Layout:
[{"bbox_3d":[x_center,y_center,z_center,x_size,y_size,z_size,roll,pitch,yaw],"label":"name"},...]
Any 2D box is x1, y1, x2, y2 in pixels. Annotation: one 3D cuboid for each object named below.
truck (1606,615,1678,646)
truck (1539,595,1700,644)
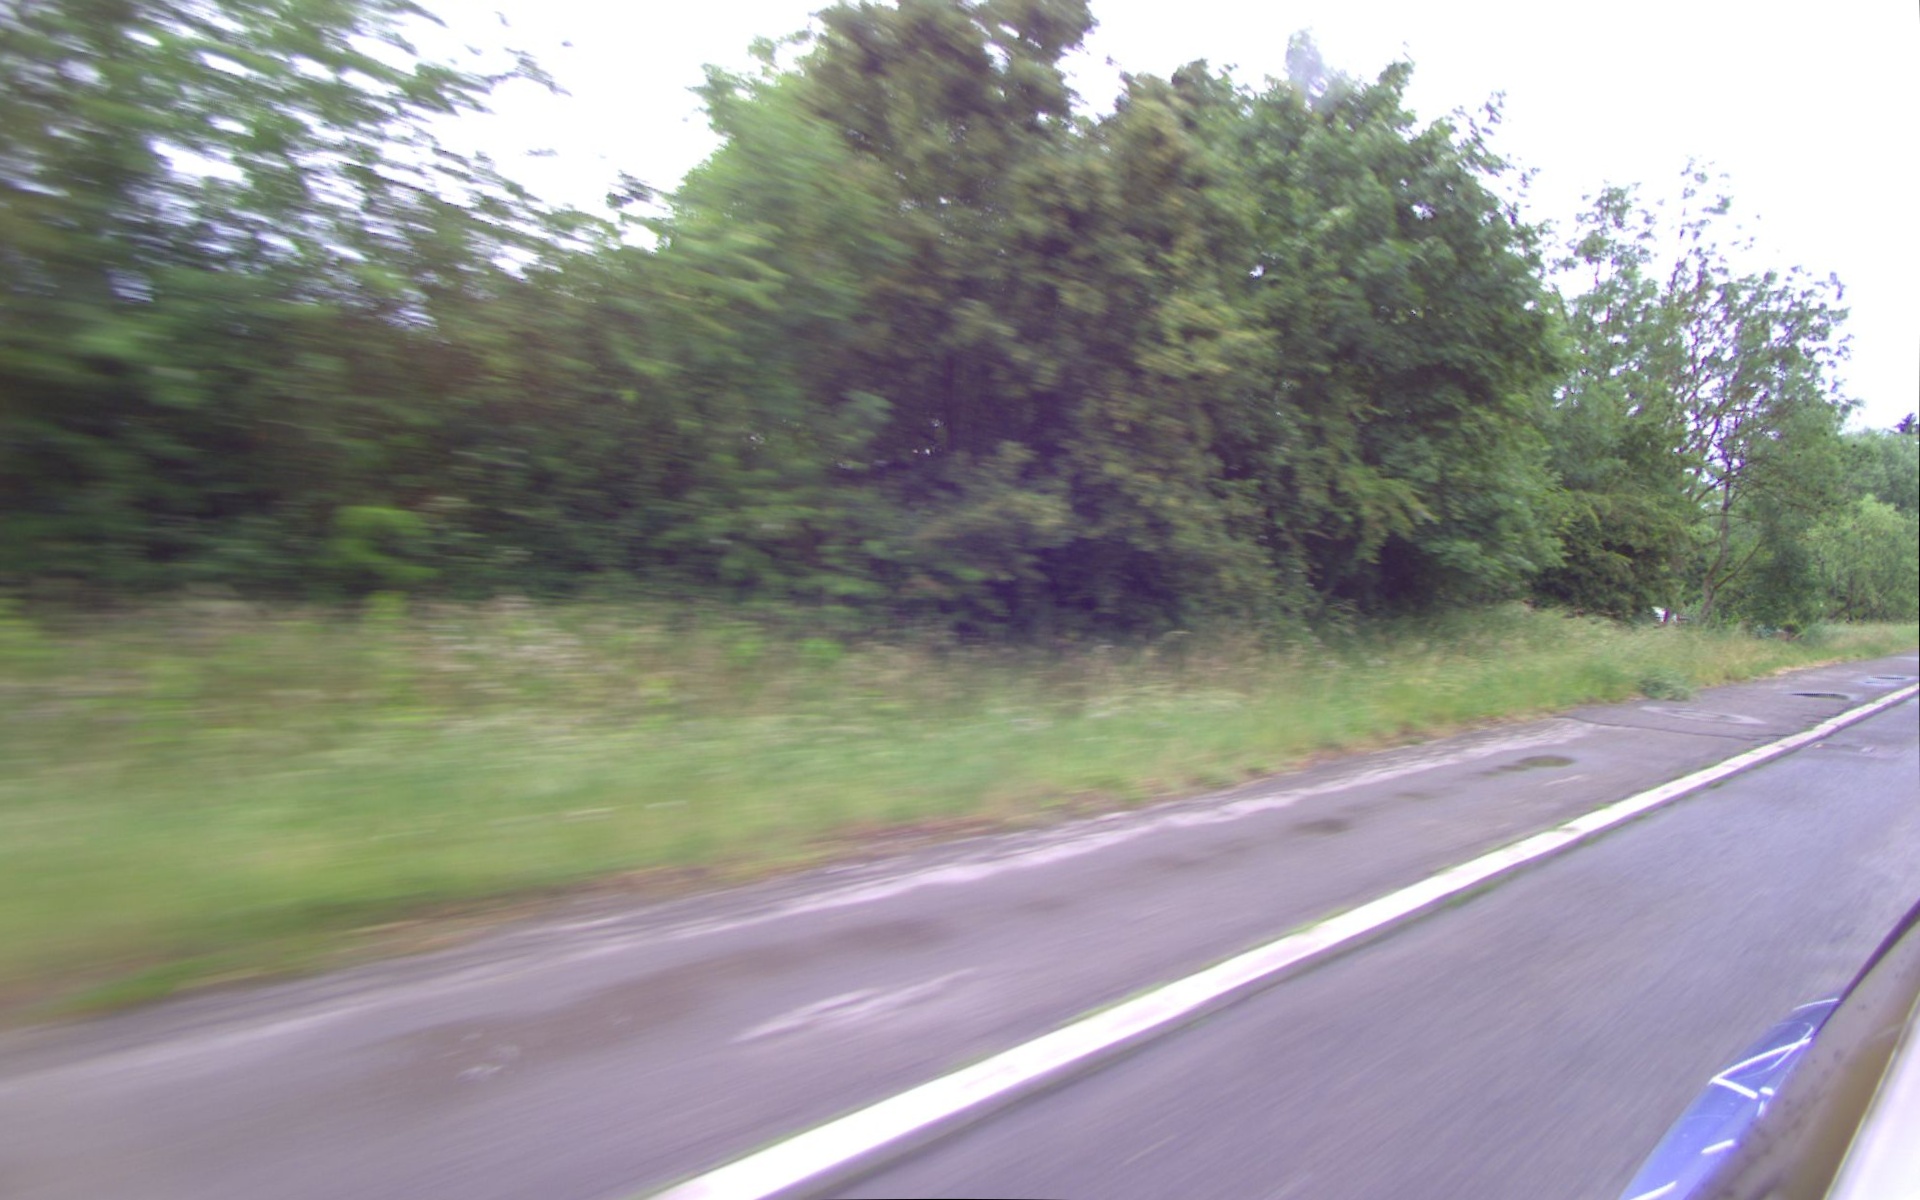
[{"bbox_3d":[33.225,1.465,49.341,1.723,1.415,2.364,0,1,-28],"label":"truck"},{"bbox_3d":[35.223,0.952,54.324,2.026,2.388,7.074,0,1,-31],"label":"truck"}]
